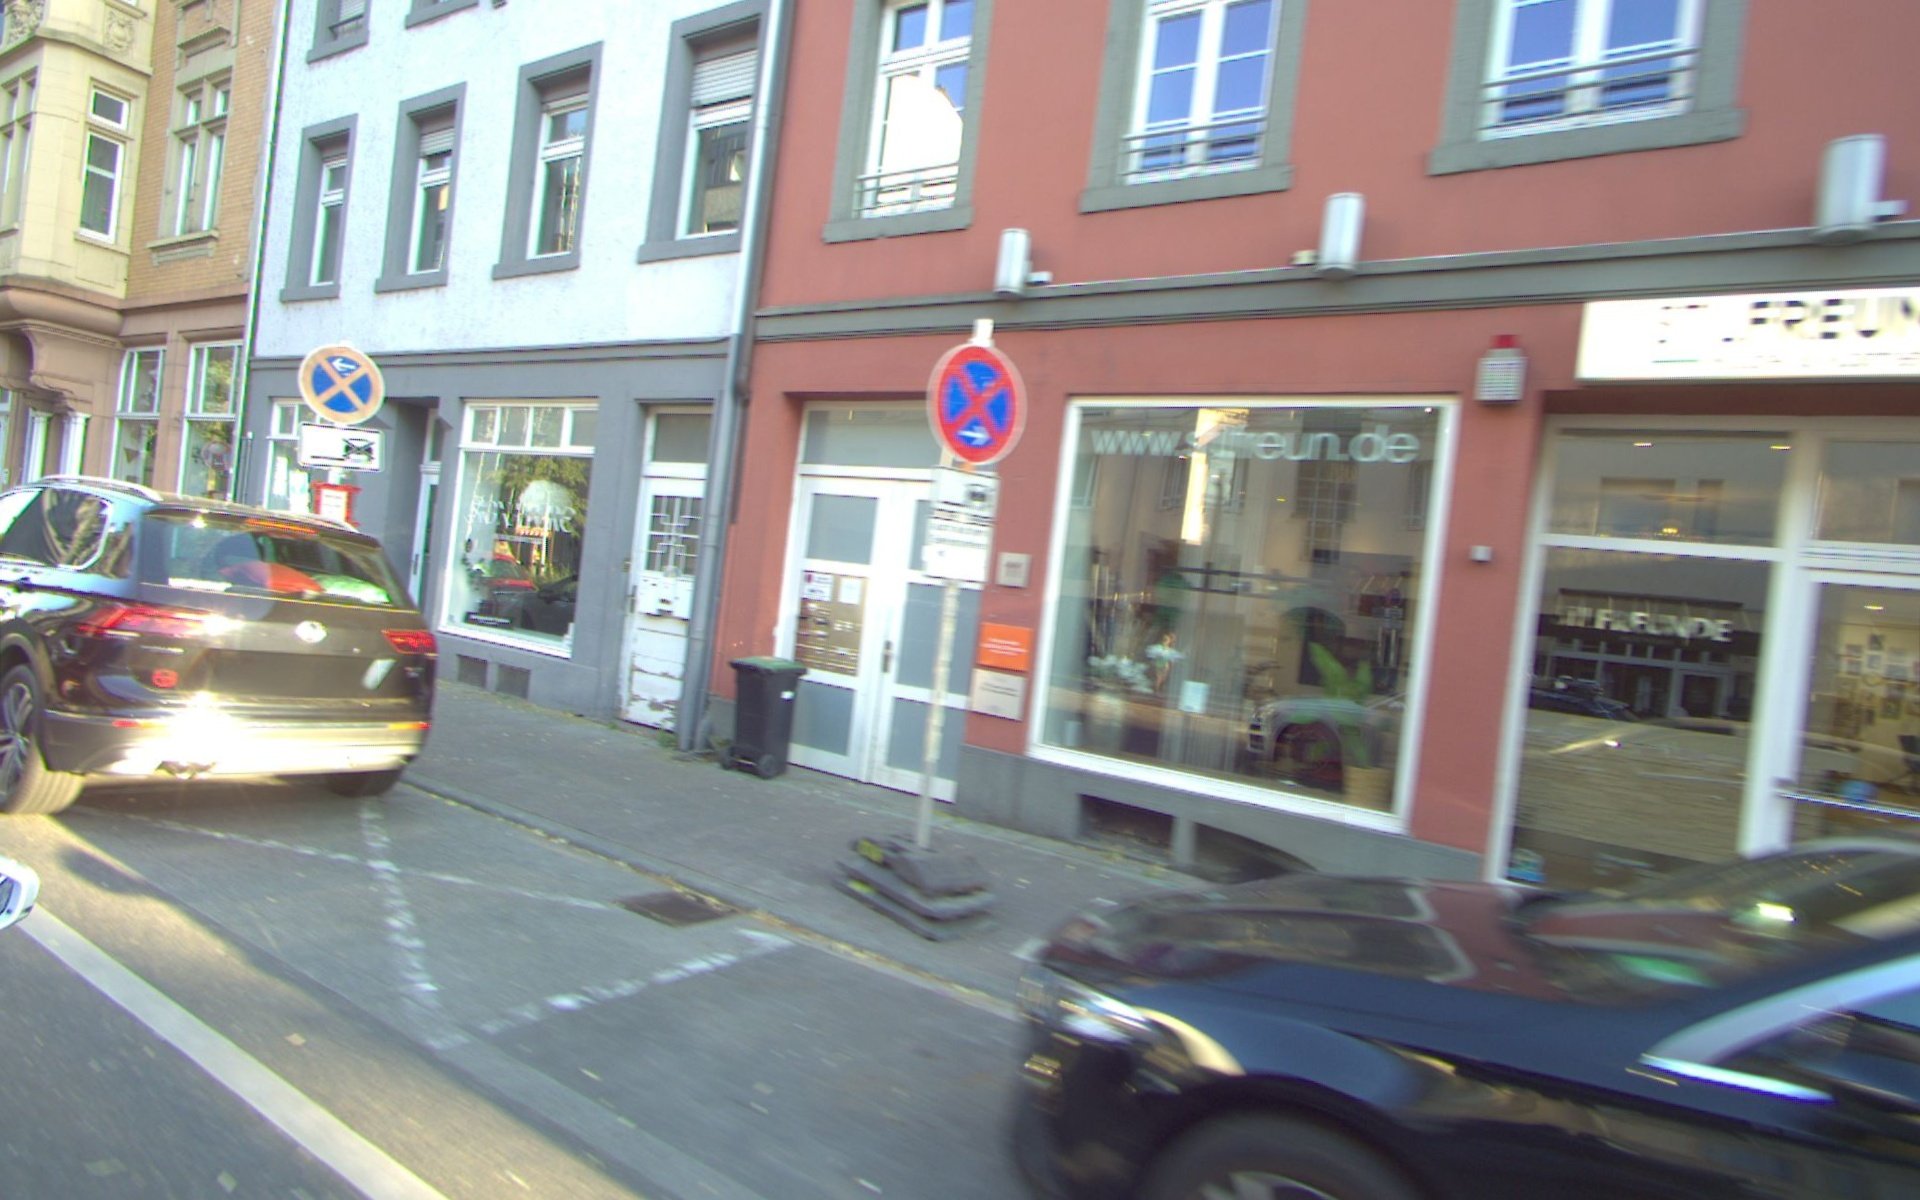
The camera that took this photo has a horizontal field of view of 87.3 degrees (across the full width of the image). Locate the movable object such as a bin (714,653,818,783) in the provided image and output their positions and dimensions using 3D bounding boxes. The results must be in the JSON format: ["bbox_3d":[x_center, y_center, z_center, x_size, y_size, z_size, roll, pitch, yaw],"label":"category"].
[{"bbox_3d":[-1.561,0.936,8.124,0.477,0.949,0.554,7,0,30],"label":"movable object such as a bin"}]

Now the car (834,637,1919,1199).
[{"bbox_3d":[2.003,1.112,2.051,4.236,1.501,1.765,6,-2,32],"label":"car"}]

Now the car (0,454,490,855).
[{"bbox_3d":[-5.017,0.140,6.128,4.137,1.687,1.815,6,-2,32],"label":"car"}]

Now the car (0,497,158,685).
[{"bbox_3d":[-8.811,-0.233,8.726,3.740,1.394,1.669,6,-2,32],"label":"car"}]
